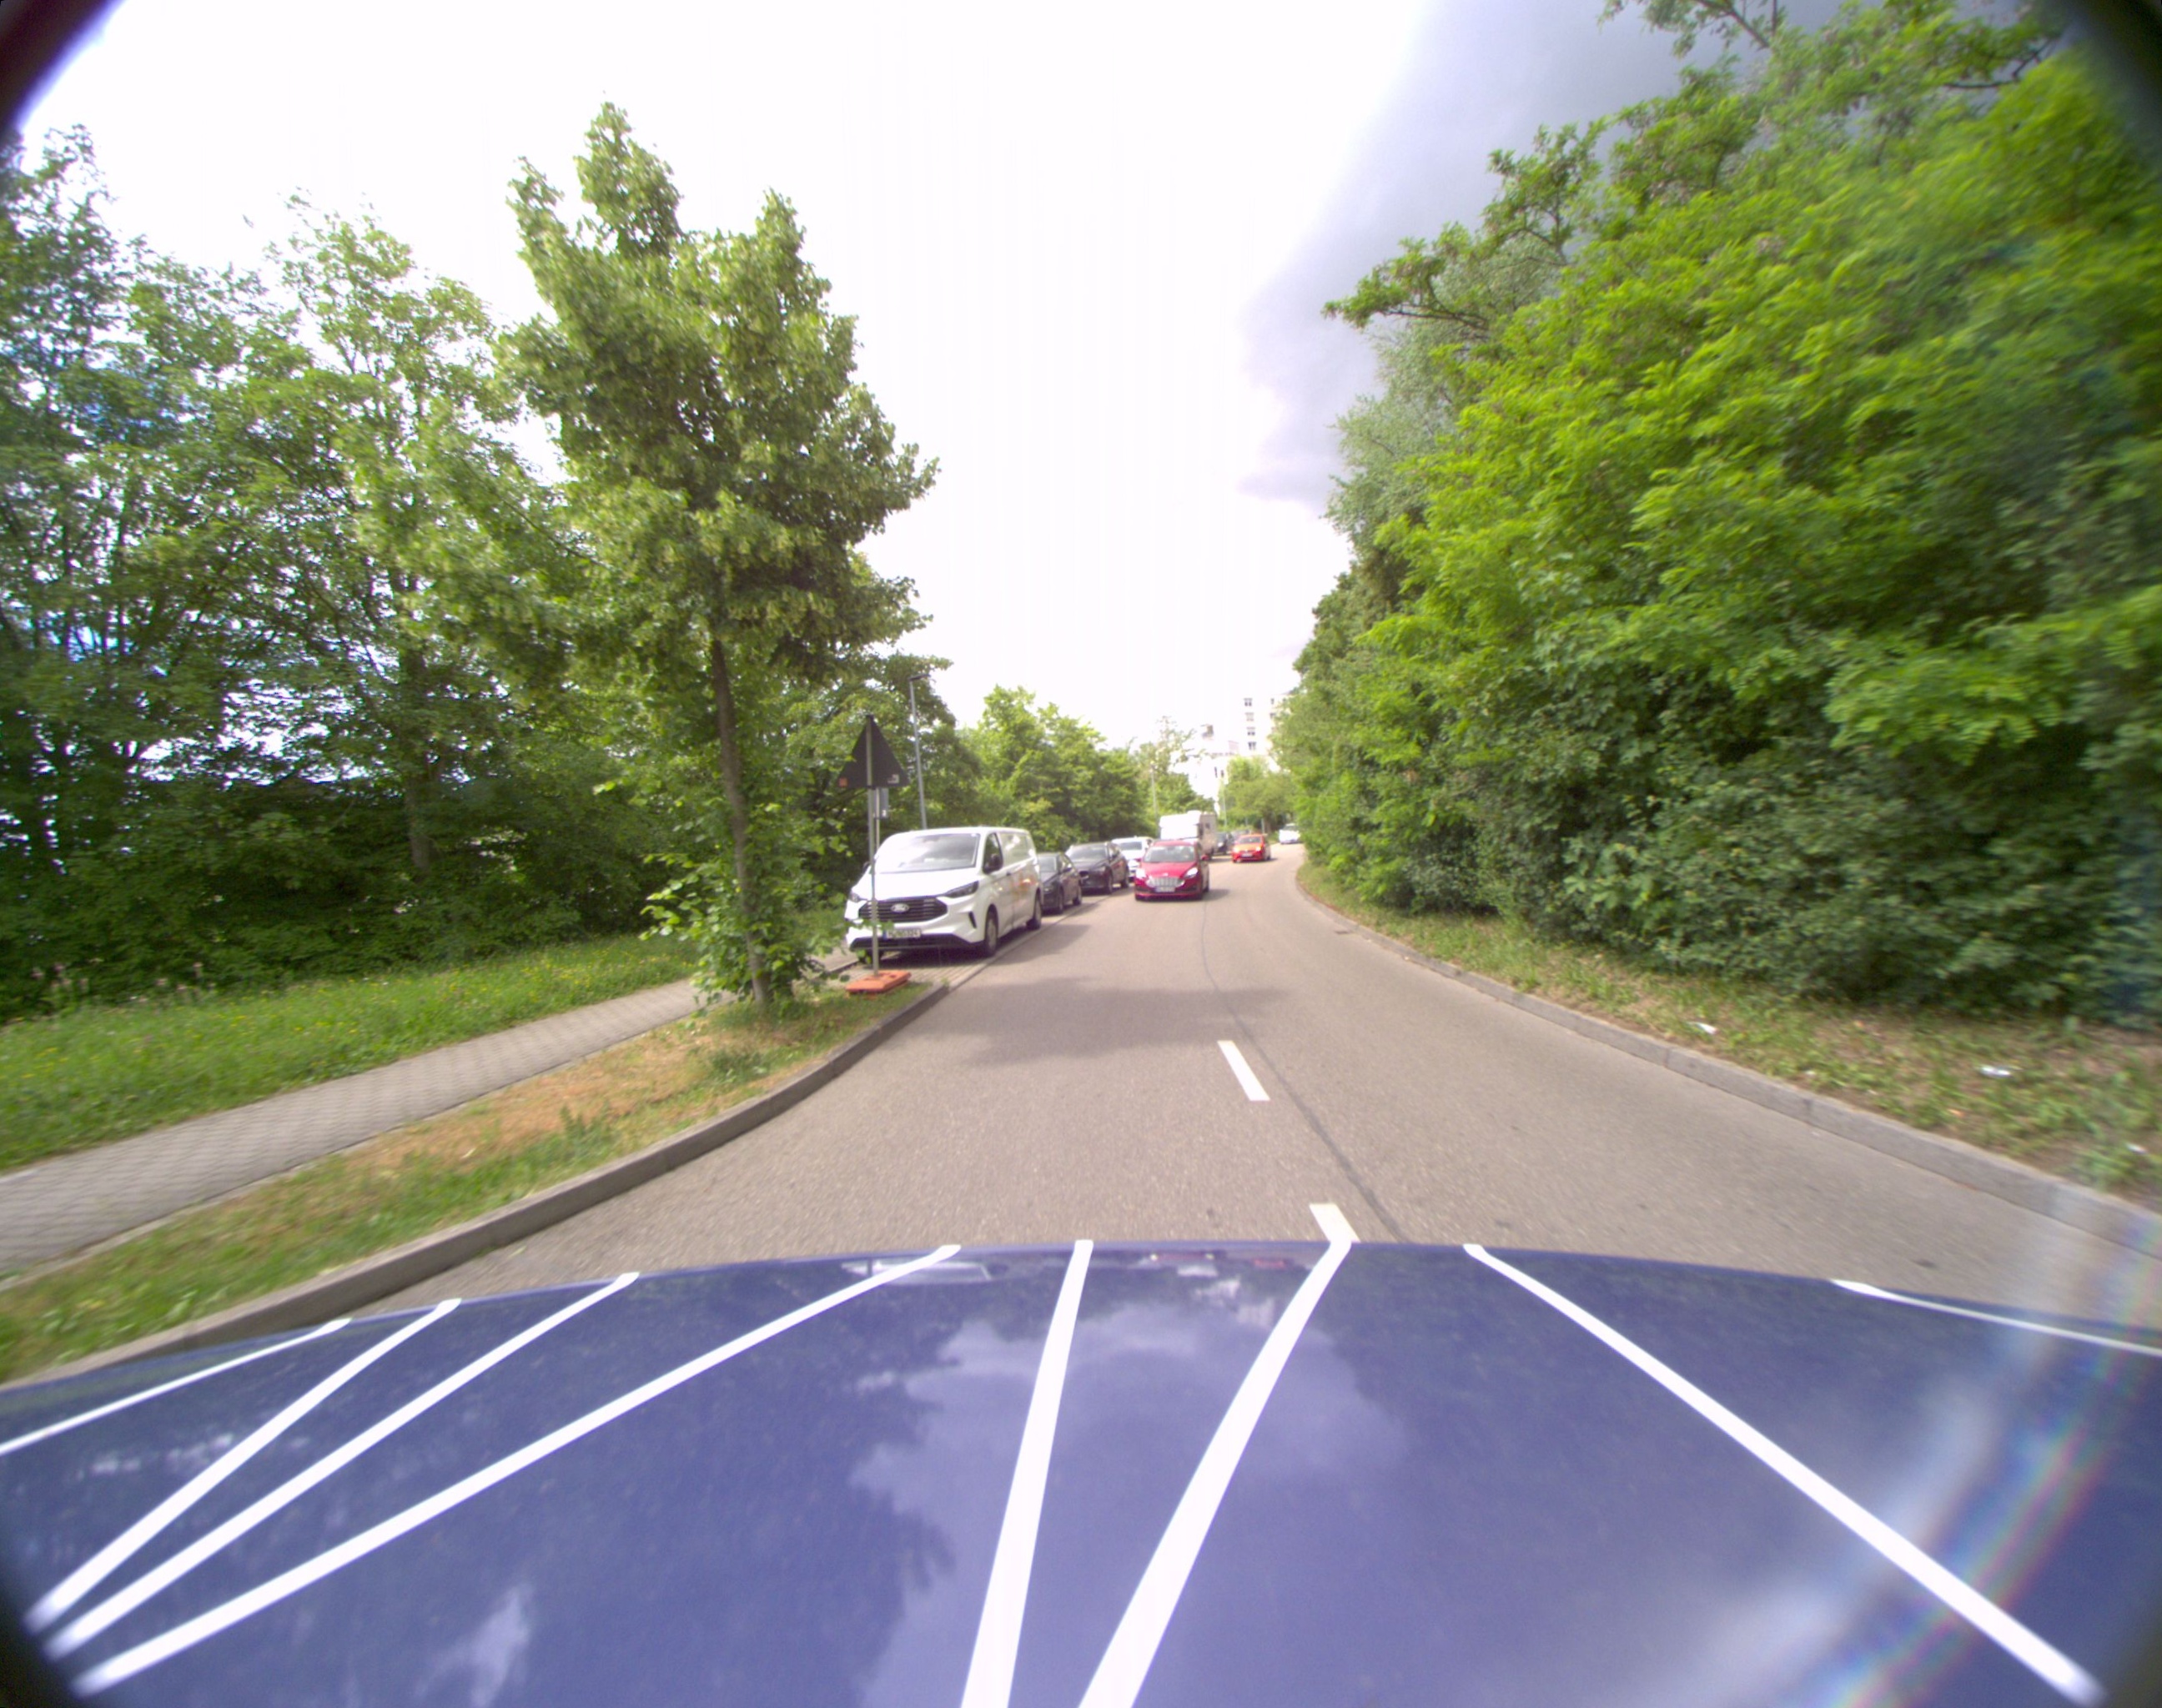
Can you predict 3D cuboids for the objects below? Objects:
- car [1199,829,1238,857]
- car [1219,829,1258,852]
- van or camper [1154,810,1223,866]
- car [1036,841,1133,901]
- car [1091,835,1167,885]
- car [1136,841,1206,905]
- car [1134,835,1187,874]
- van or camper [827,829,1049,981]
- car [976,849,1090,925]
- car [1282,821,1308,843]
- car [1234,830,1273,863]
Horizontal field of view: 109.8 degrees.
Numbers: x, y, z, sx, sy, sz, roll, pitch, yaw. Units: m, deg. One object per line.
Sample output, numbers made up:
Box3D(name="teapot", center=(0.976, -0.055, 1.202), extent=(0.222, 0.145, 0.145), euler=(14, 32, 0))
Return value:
Box3D(name="car", center=(9.200, -0.784, 50.620), extent=(1.731, 1.511, 3.892), euler=(-3, 3, 22))
Box3D(name="car", center=(11.812, -1.051, 56.948), extent=(1.777, 1.426, 4.339), euler=(-3, 2, 26))
Box3D(name="van or camper", center=(6.328, -1.008, 43.843), extent=(2.335, 2.853, 6.156), euler=(-5, 1, 22))
Box3D(name="car", center=(0.220, 0.469, 23.923), extent=(1.996, 1.617, 4.281), euler=(-2, 1, 14))
Box3D(name="car", center=(2.045, 0.181, 30.648), extent=(1.874, 1.679, 4.583), euler=(-5, 1, 17))
Box3D(name="car", center=(2.642, 0.485, 22.007), extent=(1.811, 1.600, 3.723), euler=(-1, 2, 8))
Box3D(name="car", center=(3.950, -0.030, 37.175), extent=(1.713, 1.582, 4.003), euler=(-5, 1, 17))
Box3D(name="van or camper", center=(-2.003, 0.644, 12.609), extent=(1.997, 1.909, 5.267), euler=(-3, 1, 7))
Box3D(name="car", center=(-1.057, 0.728, 18.850), extent=(1.801, 1.456, 4.002), euler=(-4, 1, 10))
Box3D(name="car", center=(17.287, -1.828, 61.272), extent=(1.778, 1.444, 4.003), euler=(-5, 3, 18))
Box3D(name="car", center=(9.448, -0.445, 41.415), extent=(1.860, 1.435, 4.002), euler=(-5, 3, 14))
